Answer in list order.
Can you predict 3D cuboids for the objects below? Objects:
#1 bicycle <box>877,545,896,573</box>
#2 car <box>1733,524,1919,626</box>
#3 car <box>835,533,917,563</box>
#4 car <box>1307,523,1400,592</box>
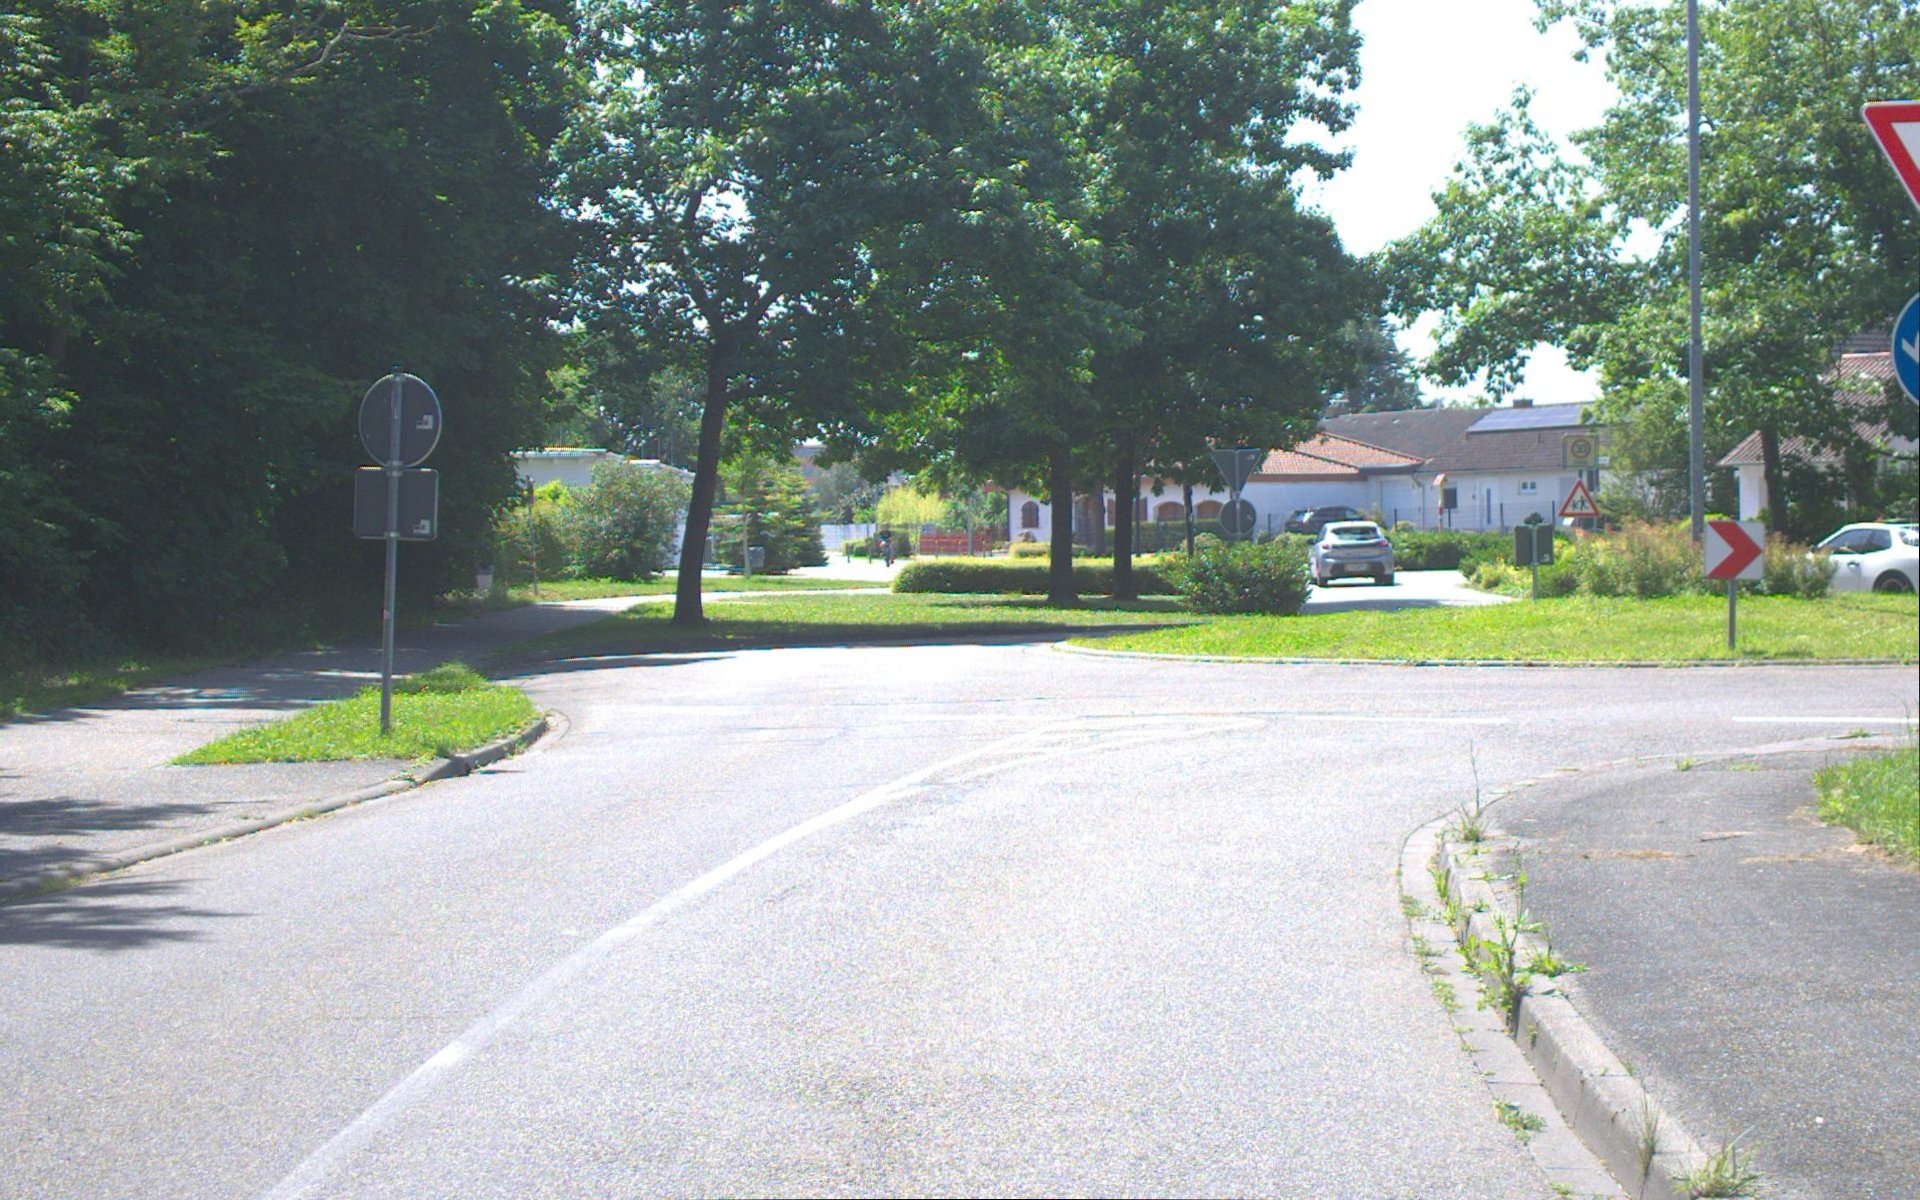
[{"bbox_3d":[-2.502,-1.398,116.830,0.597,0.926,1.620,-1,1,-2],"label":"bicycle"},{"bbox_3d":[11.986,-0.344,44.790,1.614,1.284,3.556,-1,1,-35],"label":"car"},{"bbox_3d":[-3.755,-2.309,153.064,1.993,1.284,4.000,-1,1,-30],"label":"car"},{"bbox_3d":[8.926,-0.986,78.194,1.628,1.481,4.000,-1,1,0],"label":"car"}]
